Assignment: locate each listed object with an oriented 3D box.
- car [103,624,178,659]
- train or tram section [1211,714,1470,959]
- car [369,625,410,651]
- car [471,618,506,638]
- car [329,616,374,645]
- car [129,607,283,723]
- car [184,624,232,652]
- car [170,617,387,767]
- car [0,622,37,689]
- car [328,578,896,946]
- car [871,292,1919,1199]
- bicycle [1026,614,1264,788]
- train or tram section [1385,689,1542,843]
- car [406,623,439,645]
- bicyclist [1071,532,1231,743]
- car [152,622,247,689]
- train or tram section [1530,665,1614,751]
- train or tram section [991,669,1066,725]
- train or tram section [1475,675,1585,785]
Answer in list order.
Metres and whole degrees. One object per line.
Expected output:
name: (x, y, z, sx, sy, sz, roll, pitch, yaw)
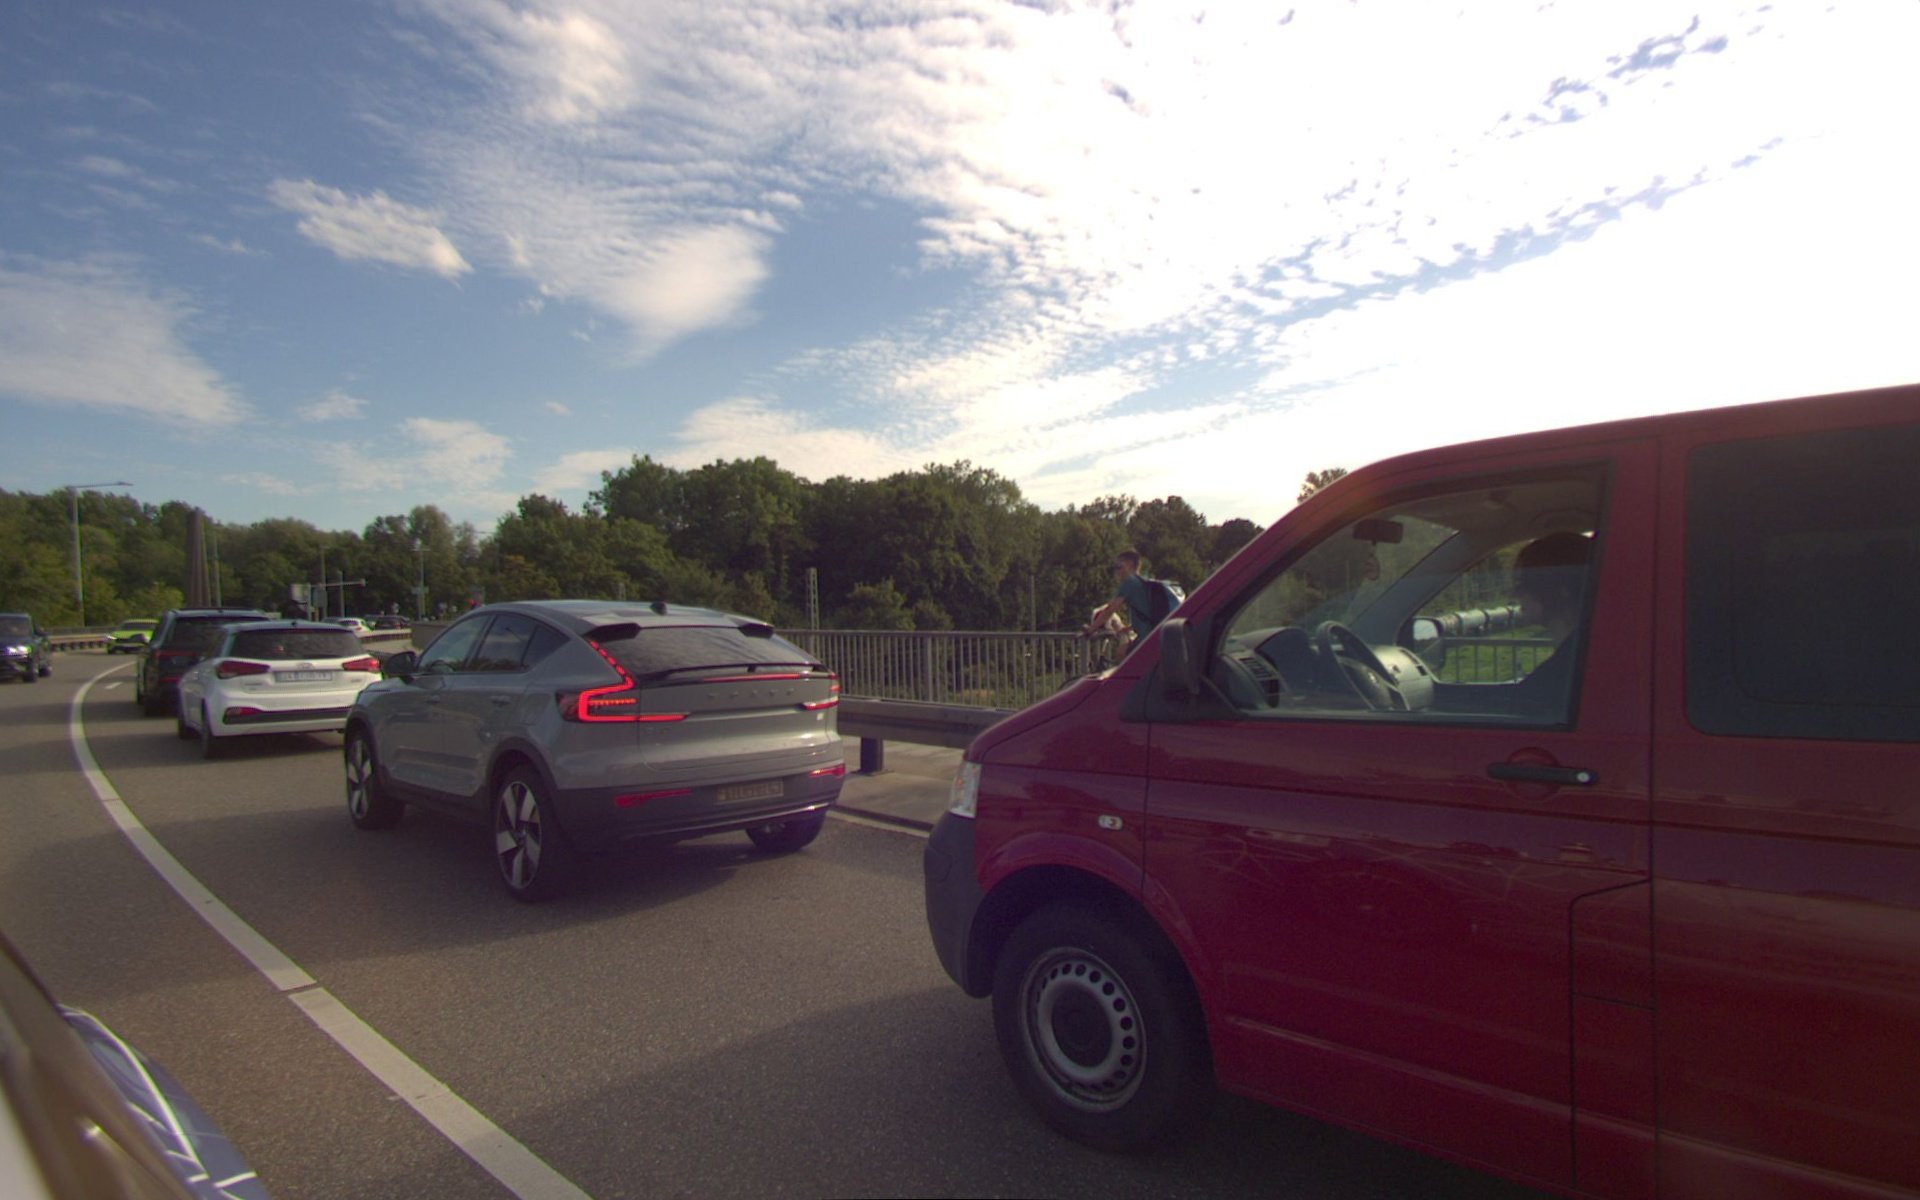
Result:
car: (-35.223, 1.762, 43.590, 1.789, 1.415, 4.404, 1, -2, -30)
train or tram section: (13.188, 6.843, 33.222, 3.093, 4.748, 16.533, -1, -1, 38)
car: (-40.341, 2.672, 71.647, 1.749, 1.759, 3.849, 0, -1, -18)
car: (-47.694, 2.843, 102.496, 1.959, 1.979, 5.058, 0, -1, -10)
car: (-37.066, 1.837, 61.768, 1.843, 1.679, 4.645, 1, -1, -25)
car: (-12.935, 1.003, 17.237, 1.806, 1.685, 4.874, 1, -2, -40)
car: (-39.391, 1.972, 53.075, 1.663, 1.333, 3.795, 1, -1, -32)
car: (-8.429, 0.978, 12.365, 1.719, 1.512, 4.083, 1, -2, -41)
car: (-23.577, 1.303, 24.478, 1.792, 1.519, 4.395, 1, -2, -43)
car: (-2.509, 0.761, 6.608, 4.314, 1.622, 1.733, -1, -2, 44)
car: (2.209, 0.477, 2.354, 4.864, 1.918, 1.987, -1, -2, 40)
bicycle: (1.546, 0.789, 8.721, 1.916, 1.342, 0.756, -1, -1, 43)
train or tram section: (23.426, 7.016, 46.209, 3.093, 4.748, 16.533, -1, -1, 38)
car: (-44.389, 2.788, 83.647, 1.749, 1.759, 3.848, 0, -1, -17)
bicyclist: (1.625, 0.305, 8.661, 1.120, 1.673, 0.758, -1, -1, 42)
car: (-18.917, 1.305, 25.200, 1.737, 1.501, 4.455, 1, -2, -37)
train or tram section: (43.876, 7.363, 72.135, 3.093, 4.748, 16.533, -1, -1, 38)
train or tram section: (5.452, 7.490, 79.151, 2.052, 3.812, 6.745, -1, -1, 43)
train or tram section: (33.616, 7.189, 59.149, 3.093, 4.748, 16.533, -1, -1, 38)
